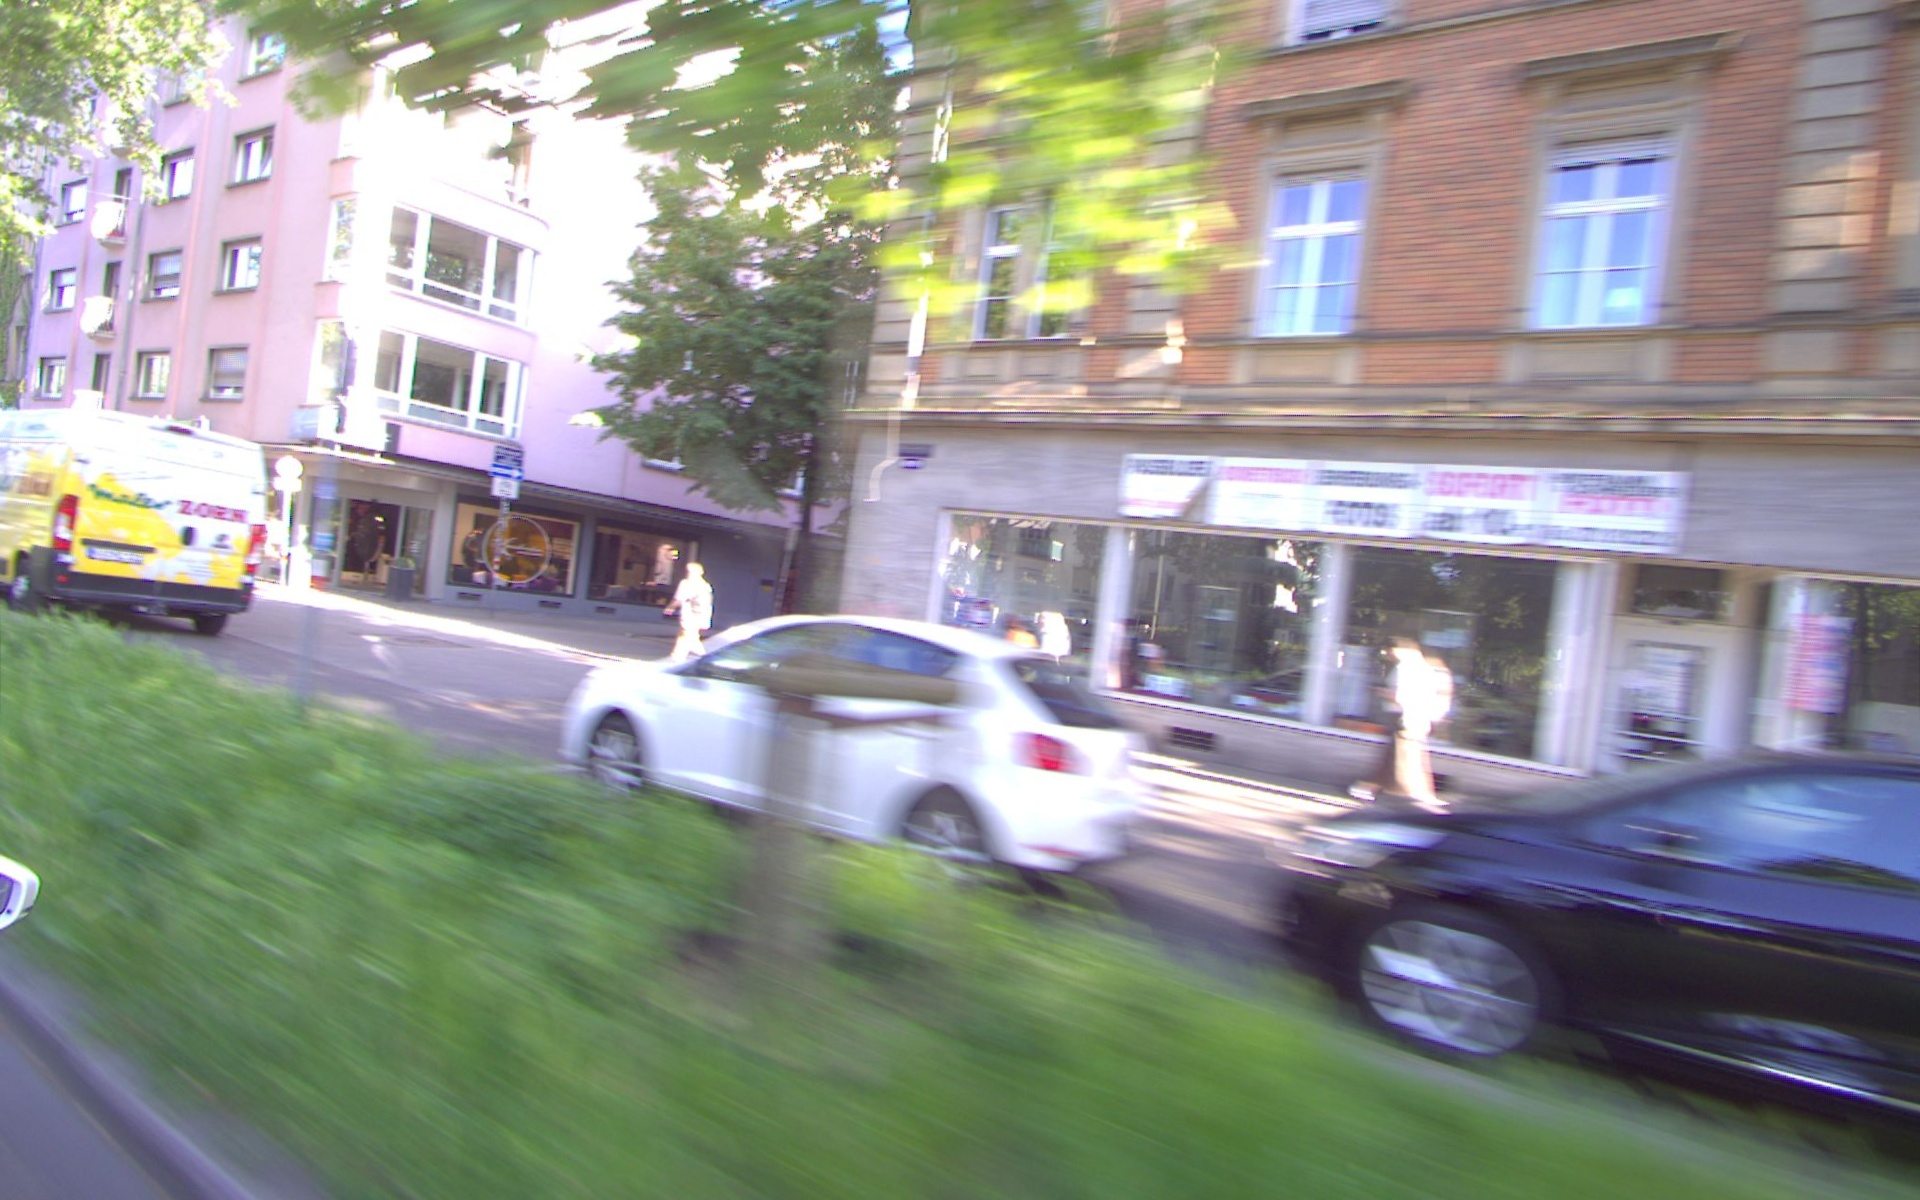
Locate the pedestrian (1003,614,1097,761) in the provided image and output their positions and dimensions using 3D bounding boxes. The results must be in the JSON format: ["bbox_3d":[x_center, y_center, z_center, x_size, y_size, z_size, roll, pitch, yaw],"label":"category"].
[{"bbox_3d":[1.130,1.085,12.557,0.740,1.705,0.692,7,0,32],"label":"pedestrian"}]

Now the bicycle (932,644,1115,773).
[{"bbox_3d":[0.703,1.197,11.412,1.868,1.140,0.670,7,0,32],"label":"bicycle"}]

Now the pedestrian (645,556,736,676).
[{"bbox_3d":[-4.342,0.254,16.189,1.062,1.776,0.692,7,0,32],"label":"pedestrian"}]

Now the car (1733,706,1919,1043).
[{"bbox_3d":[6.712,1.670,5.070,4.114,1.598,1.756,7,0,31],"label":"car"}]

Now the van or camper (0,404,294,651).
[{"bbox_3d":[-11.706,-1.030,13.465,6.167,2.508,2.188,7,-3,34],"label":"van or camper"}]

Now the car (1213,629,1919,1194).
[{"bbox_3d":[3.369,1.197,4.009,4.114,1.512,1.759,7,-3,31],"label":"car"}]

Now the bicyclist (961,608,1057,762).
[{"bbox_3d":[0.566,0.961,11.530,0.687,1.634,0.660,7,0,32],"label":"bicyclist"}]

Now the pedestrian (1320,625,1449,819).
[{"bbox_3d":[4.378,1.227,10.364,0.942,1.810,0.692,7,0,32],"label":"pedestrian"}]

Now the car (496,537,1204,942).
[{"bbox_3d":[-0.799,0.686,6.457,4.114,1.589,1.759,7,-3,31],"label":"car"}]
